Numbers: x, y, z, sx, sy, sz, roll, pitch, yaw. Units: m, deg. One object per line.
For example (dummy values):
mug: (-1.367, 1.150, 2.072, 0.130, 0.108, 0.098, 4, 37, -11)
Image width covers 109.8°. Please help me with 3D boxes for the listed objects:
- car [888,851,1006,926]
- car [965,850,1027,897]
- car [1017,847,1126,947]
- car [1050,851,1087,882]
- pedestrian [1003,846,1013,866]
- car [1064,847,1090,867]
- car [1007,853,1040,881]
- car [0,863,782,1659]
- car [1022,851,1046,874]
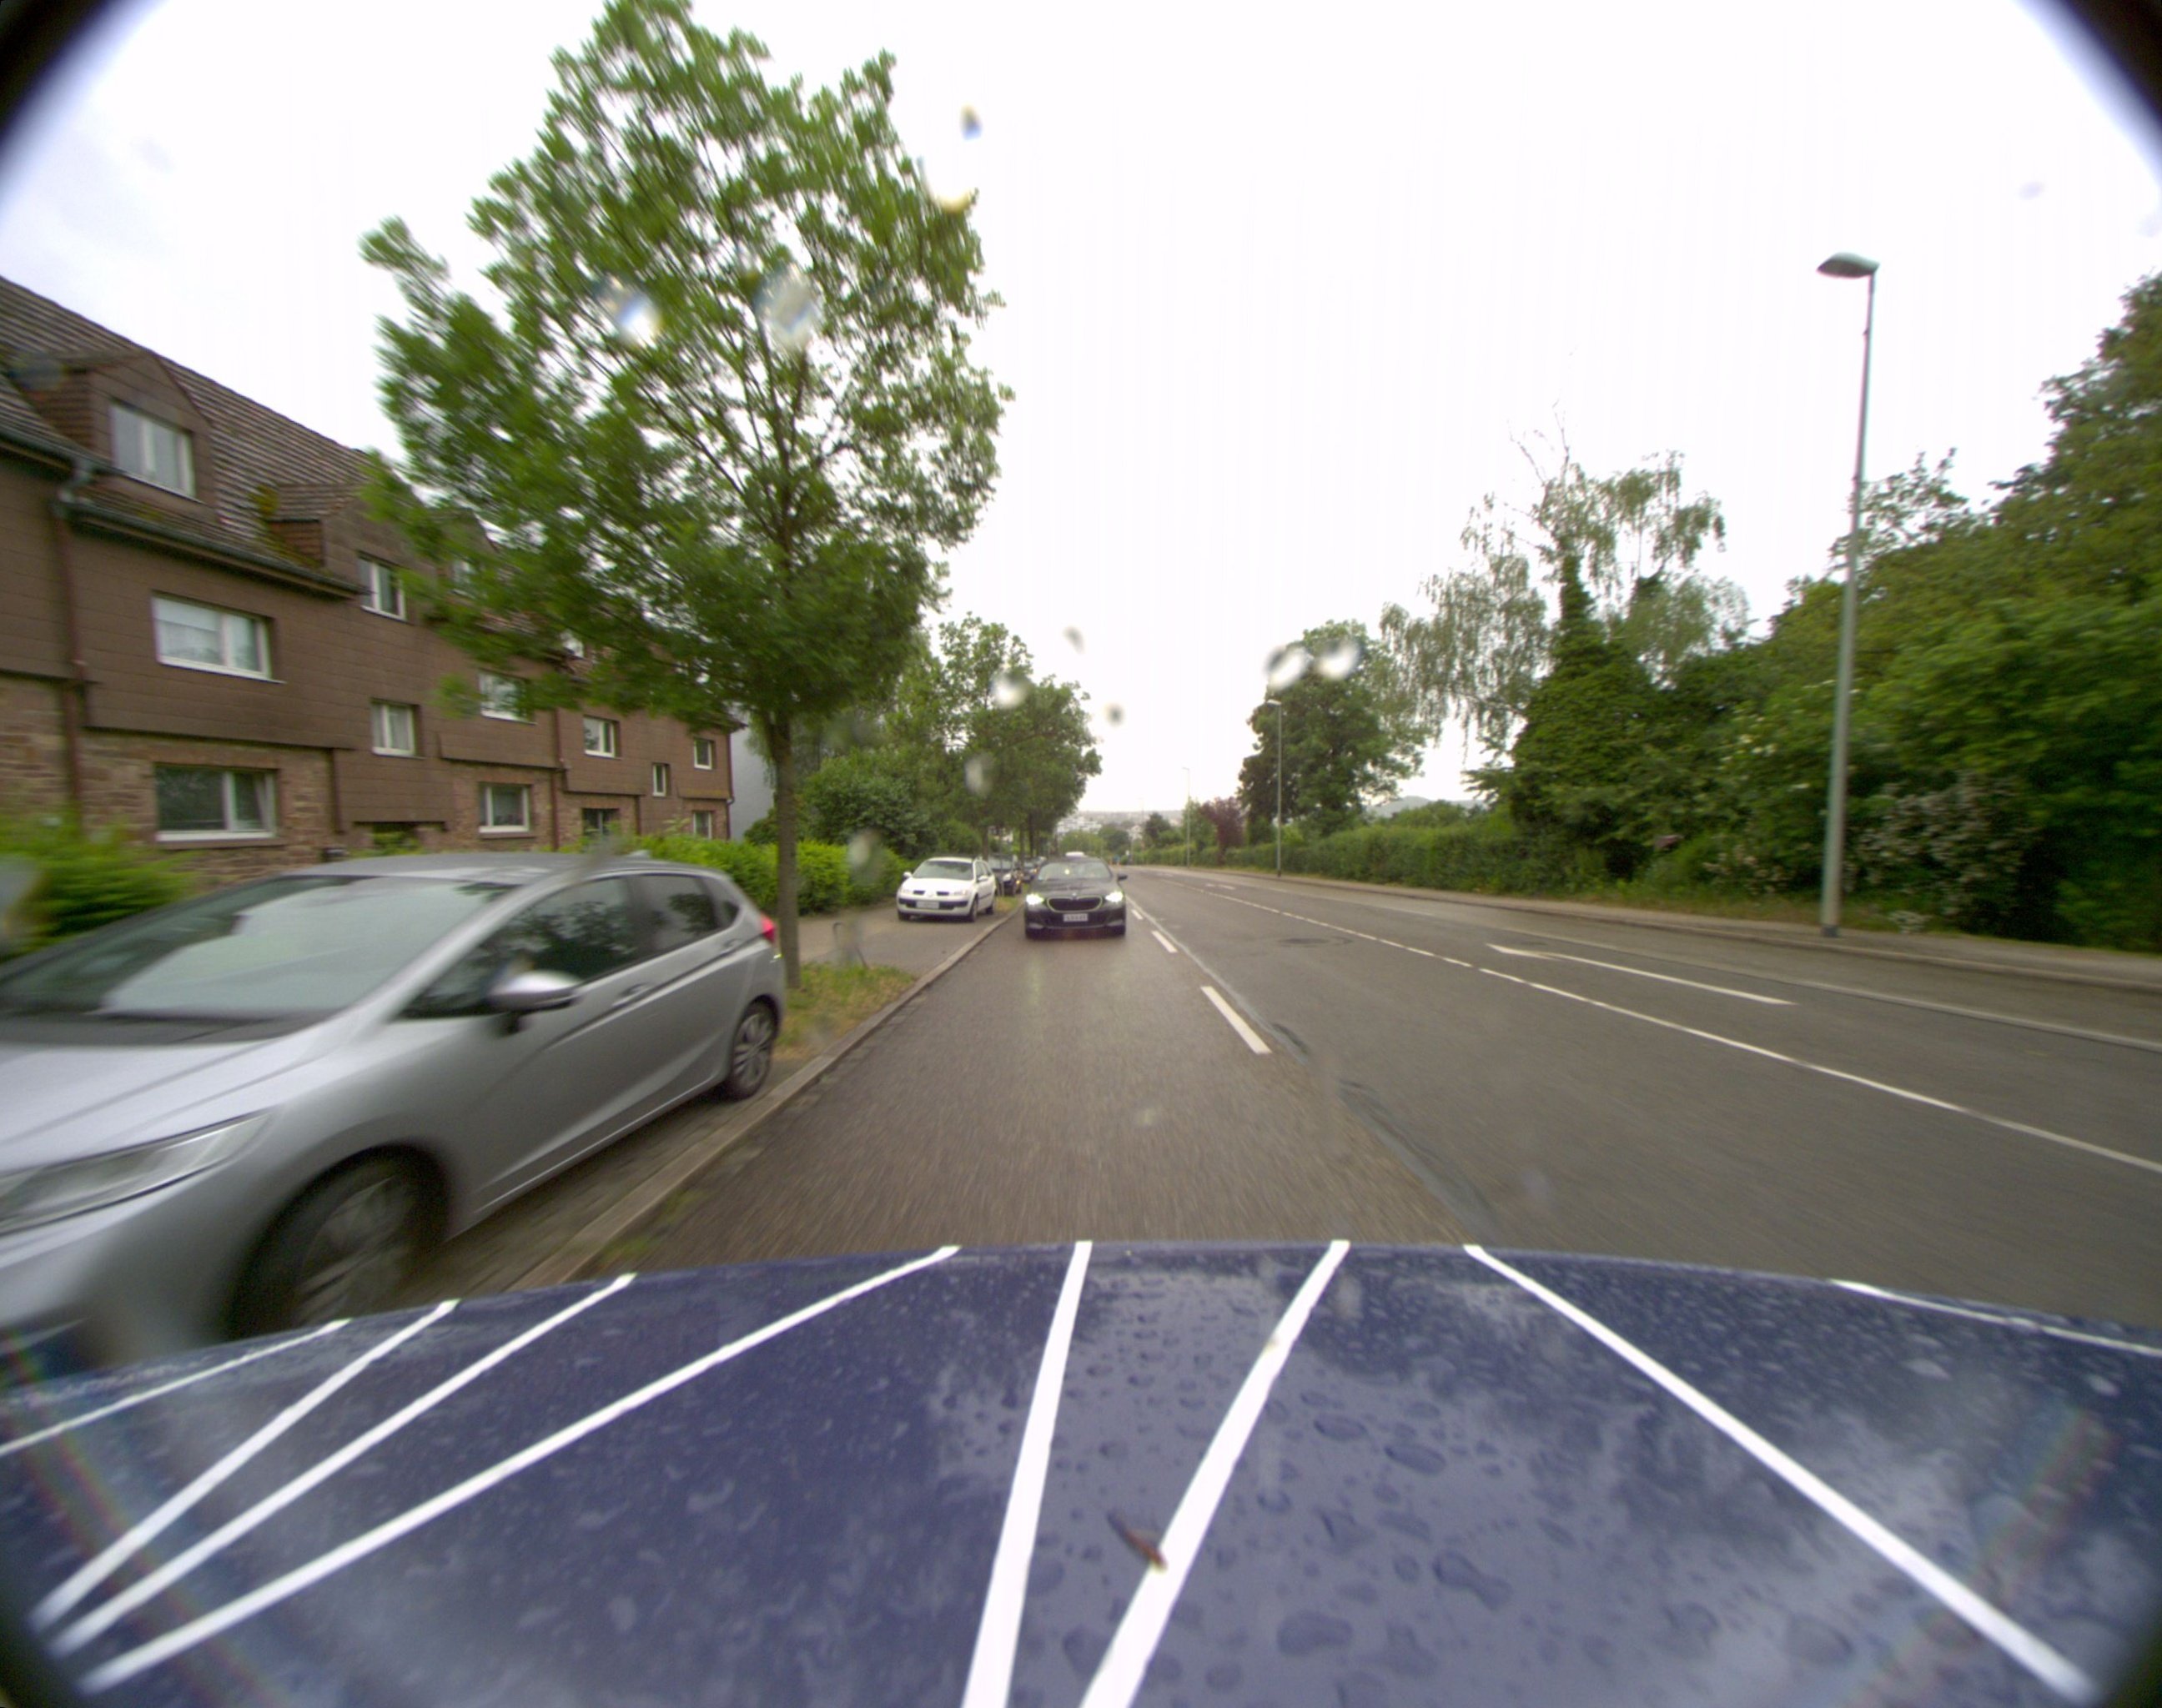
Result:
car: (-3.129, 0.745, 18.716, 1.828, 1.593, 4.474, 1, 0, 4)
car: (-3.204, 0.691, 29.433, 1.829, 1.668, 4.584, 1, 0, 0)
car: (-0.160, 0.748, 15.492, 1.829, 1.668, 4.295, -3, 0, 0)
car: (-0.710, 0.677, 44.274, 1.999, 1.674, 4.173, -1, 0, 0)
pedestrian: (-6.062, 0.189, 62.929, 0.709, 1.670, 0.654, 0, 1, 6)
car: (-0.376, 0.253, 65.925, 1.999, 1.674, 4.172, -1, 0, -4)
car: (-3.177, 0.679, 42.562, 1.726, 1.503, 3.785, 0, 0, -2)
car: (-2.969, 0.871, 3.232, 1.672, 1.520, 3.832, 2, 1, 3)
car: (-3.437, 0.609, 55.672, 1.646, 1.586, 4.013, 0, 0, -2)
